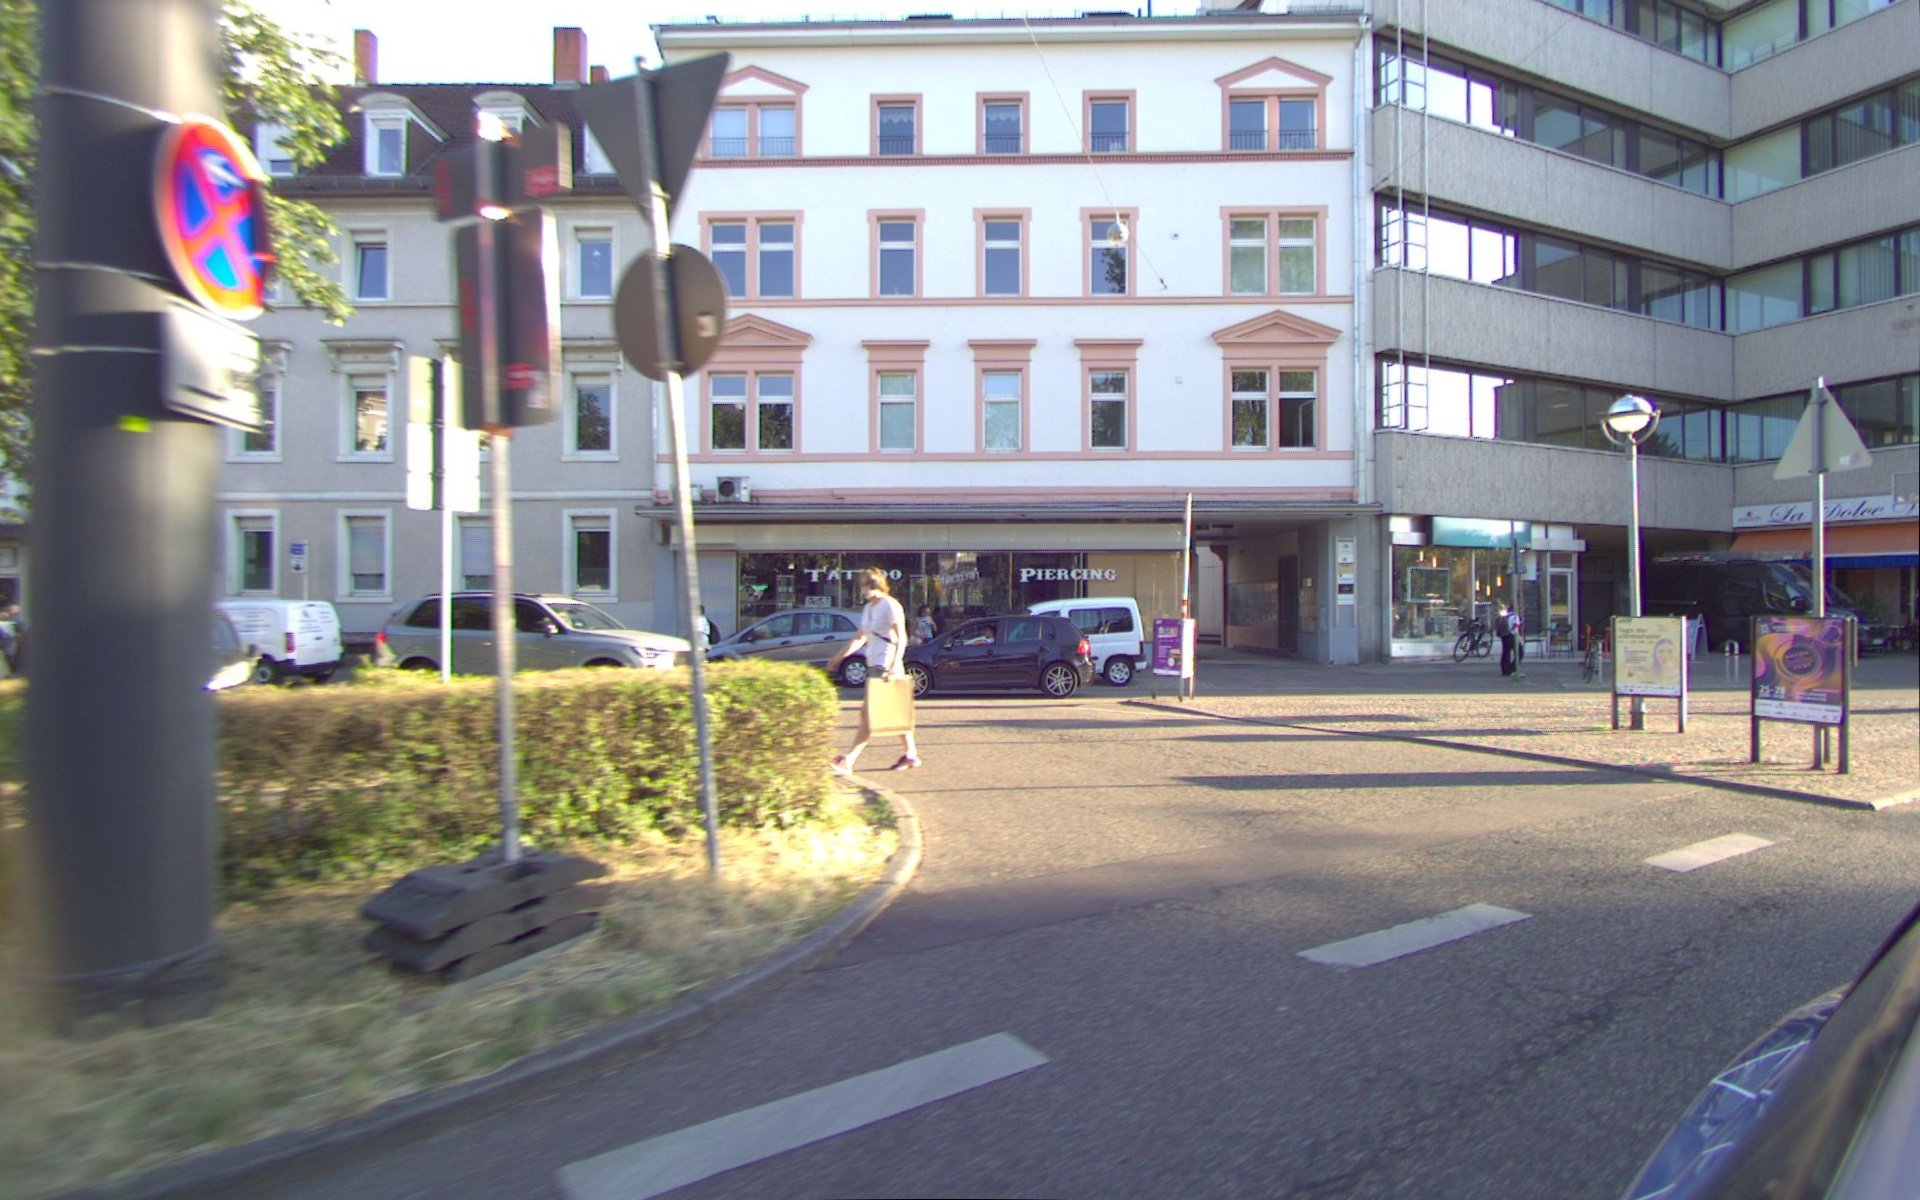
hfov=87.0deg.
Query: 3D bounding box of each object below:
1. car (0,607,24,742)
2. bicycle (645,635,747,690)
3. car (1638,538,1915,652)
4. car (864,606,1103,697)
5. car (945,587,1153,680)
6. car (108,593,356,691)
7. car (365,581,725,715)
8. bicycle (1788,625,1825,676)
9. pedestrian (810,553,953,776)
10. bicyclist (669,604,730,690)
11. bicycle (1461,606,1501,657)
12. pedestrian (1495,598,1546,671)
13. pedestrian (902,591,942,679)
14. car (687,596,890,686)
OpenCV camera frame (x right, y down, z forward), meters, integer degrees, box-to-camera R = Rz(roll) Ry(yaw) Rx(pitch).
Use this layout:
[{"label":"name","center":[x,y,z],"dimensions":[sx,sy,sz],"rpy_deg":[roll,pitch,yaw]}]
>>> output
[{"label":"car","center":[-11.874,0.886,10.902],"dimensions":[1.914,1.625,4.001],"rpy_deg":[0,-1,-32]},{"label":"bicycle","center":[-5.110,1.205,19.670],"dimensions":[1.800,1.025,0.733],"rpy_deg":[-1,-1,1]},{"label":"car","center":[21.864,-0.184,27.429],"dimensions":[2.136,2.761,5.444],"rpy_deg":[0,1,-25]},{"label":"car","center":[0.410,0.901,18.350],"dimensions":[4.085,1.505,1.936],"rpy_deg":[-1,-1,2]},{"label":"car","center":[1.796,0.668,21.369],"dimensions":[4.150,1.806,1.932],"rpy_deg":[-1,1,1]},{"label":"car","center":[-15.497,0.851,21.699],"dimensions":[3.926,1.908,1.952],"rpy_deg":[-1,2,2]},{"label":"car","center":[-6.049,0.687,14.953],"dimensions":[4.637,1.794,1.993],"rpy_deg":[-1,-1,12]},{"label":"bicycle","center":[17.302,1.018,20.700],"dimensions":[0.299,1.005,1.281],"rpy_deg":[-1,-1,28]},{"label":"pedestrian","center":[-0.668,0.511,8.547],"dimensions":[0.958,1.753,0.727],"rpy_deg":[0,-2,-32]},{"label":"bicyclist","center":[-5.053,0.897,19.655],"dimensions":[0.991,1.635,0.721],"rpy_deg":[-1,-1,1]},{"label":"bicycle","center":[12.783,0.767,24.832],"dimensions":[0.486,1.207,1.404],"rpy_deg":[-2,-2,43]},{"label":"pedestrian","center":[12.221,0.742,22.075],"dimensions":[0.779,1.555,0.569],"rpy_deg":[-1,0,5]},{"label":"pedestrian","center":[-0.800,0.738,21.479],"dimensions":[0.780,1.823,0.638],"rpy_deg":[-1,-1,1]},{"label":"car","center":[-3.511,0.824,21.344],"dimensions":[3.924,1.660,2.001],"rpy_deg":[-1,2,0]}]
